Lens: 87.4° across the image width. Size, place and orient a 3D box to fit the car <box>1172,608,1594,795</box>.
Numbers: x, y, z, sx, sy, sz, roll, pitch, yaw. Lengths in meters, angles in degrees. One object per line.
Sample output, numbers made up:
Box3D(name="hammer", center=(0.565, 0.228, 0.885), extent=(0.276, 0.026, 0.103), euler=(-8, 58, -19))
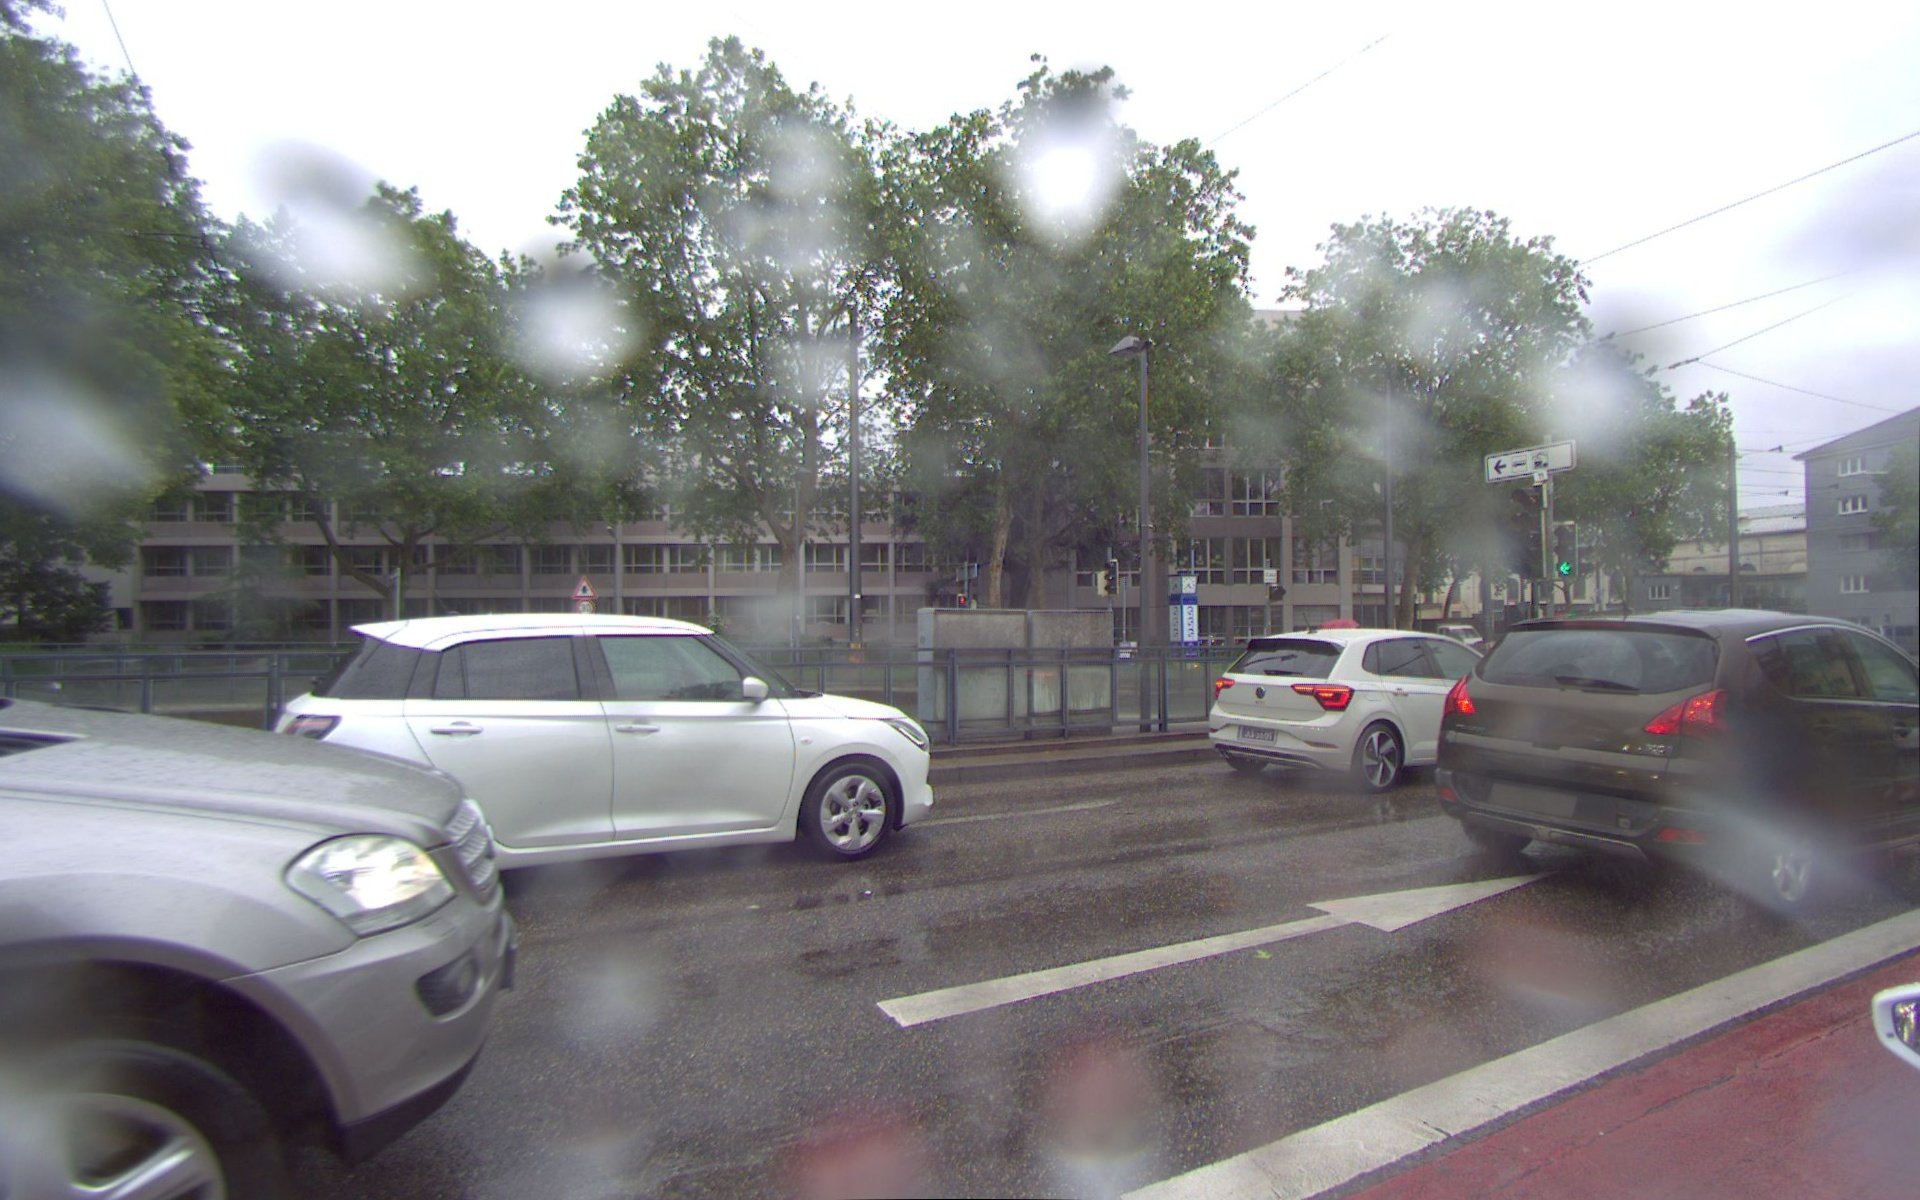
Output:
Box3D(name="car", center=(4.336, 0.875, 10.180), extent=(4.140, 1.557, 1.799), euler=(0, -1, -29))

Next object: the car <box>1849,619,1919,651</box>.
Box3D(name="car", center=(61.280, 2.267, 65.802), extent=(4.310, 2.040, 2.068), euler=(0, 0, 0))

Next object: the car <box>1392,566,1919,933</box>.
Box3D(name="car", center=(4.943, 0.711, 6.545), extent=(4.140, 1.732, 1.794), euler=(0, 0, -29))

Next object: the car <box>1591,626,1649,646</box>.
Box3D(name="car", center=(59.201, 3.209, 90.156), extent=(3.921, 1.787, 2.000), euler=(-1, -1, 0))

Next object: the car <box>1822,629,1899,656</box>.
Box3D(name="car", center=(61.662, 2.911, 68.768), extent=(3.930, 1.647, 1.952), euler=(2, 0, -11))

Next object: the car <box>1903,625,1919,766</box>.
Box3D(name="car", center=(12.148, 1.077, 10.811), extent=(3.786, 1.478, 1.874), euler=(3, -1, -29))

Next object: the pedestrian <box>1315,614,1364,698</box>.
Box3D(name="pedestrian", center=(8.078, 1.173, 21.366), extent=(0.932, 1.734, 0.830), euler=(-1, -1, 22))

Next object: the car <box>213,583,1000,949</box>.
Box3D(name="car", center=(-1.930, 0.743, 6.174), extent=(4.022, 1.608, 1.794), euler=(0, -1, -28))

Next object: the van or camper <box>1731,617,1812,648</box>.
Box3D(name="van or camper", center=(59.586, 2.377, 73.778), extent=(4.568, 2.102, 1.998), euler=(1, -1, -7))

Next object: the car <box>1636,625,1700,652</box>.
Box3D(name="car", center=(58.812, 3.197, 83.484), extent=(3.921, 2.040, 2.000), euler=(2, 0, 0))

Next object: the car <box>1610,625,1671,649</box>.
Box3D(name="car", center=(58.455, 3.157, 86.332), extent=(3.919, 1.954, 2.001), euler=(0, 0, 4))

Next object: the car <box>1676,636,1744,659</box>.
Box3D(name="car", center=(58.973, 3.710, 79.048), extent=(3.924, 1.635, 1.999), euler=(2, -1, -5))

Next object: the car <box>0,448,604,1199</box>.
Box3D(name="car", center=(-3.238, 0.576, 1.823), extent=(4.627, 1.668, 1.898), euler=(0, 0, -32))

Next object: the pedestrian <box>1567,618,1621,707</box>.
Box3D(name="pedestrian", center=(11.948, 1.168, 18.946), extent=(0.721, 1.631, 0.717), euler=(-1, -1, 22))

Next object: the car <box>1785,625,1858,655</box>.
Box3D(name="car", center=(60.957, 2.795, 71.071), extent=(3.931, 2.040, 1.995), euler=(0, -1, -13))
